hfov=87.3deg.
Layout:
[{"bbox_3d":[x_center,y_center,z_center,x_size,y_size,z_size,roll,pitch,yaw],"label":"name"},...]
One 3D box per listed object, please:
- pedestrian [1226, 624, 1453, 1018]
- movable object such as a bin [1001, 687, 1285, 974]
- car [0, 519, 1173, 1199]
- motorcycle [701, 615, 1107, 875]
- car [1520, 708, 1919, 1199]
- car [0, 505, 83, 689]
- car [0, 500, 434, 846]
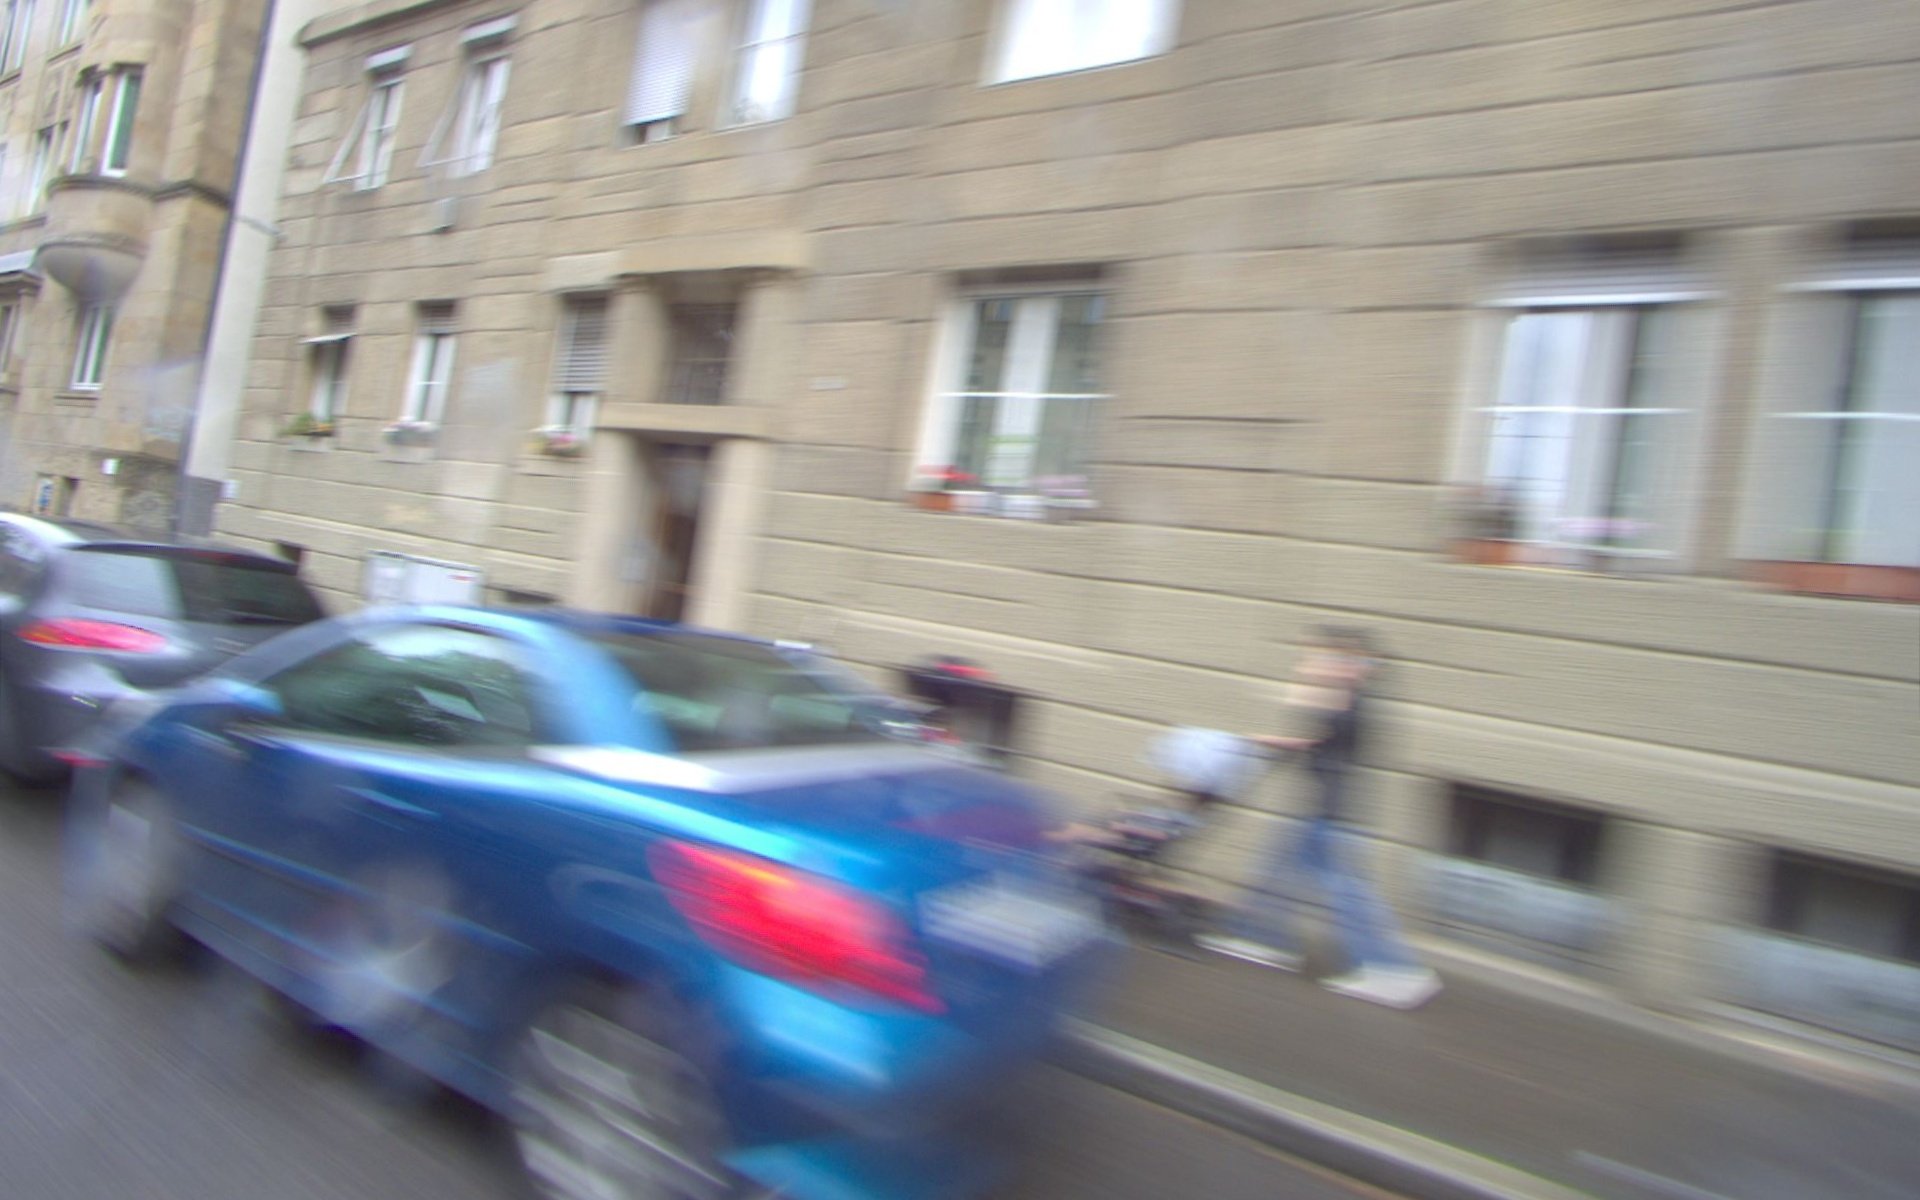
[{"bbox_3d":[1.731,0.943,4.566,0.698,1.553,0.562,7,-1,32],"label":"pedestrian"},{"bbox_3d":[0.917,1.085,5.028,1.105,1.115,0.666,7,-2,32],"label":"movable object such as a bin"},{"bbox_3d":[-1.508,0.689,3.530,3.951,1.414,1.711,7,-2,31],"label":"car"},{"bbox_3d":[-0.460,0.883,6.803,2.700,1.212,0.706,7,-2,32],"label":"motorcycle"},{"bbox_3d":[2.893,1.115,0.542,4.408,1.404,1.758,7,-1,29],"label":"car"},{"bbox_3d":[-9.159,-0.229,8.486,3.388,1.431,1.547,7,-2,31],"label":"car"},{"bbox_3d":[-5.333,0.219,6.133,4.015,1.479,1.792,7,-2,31],"label":"car"}]
